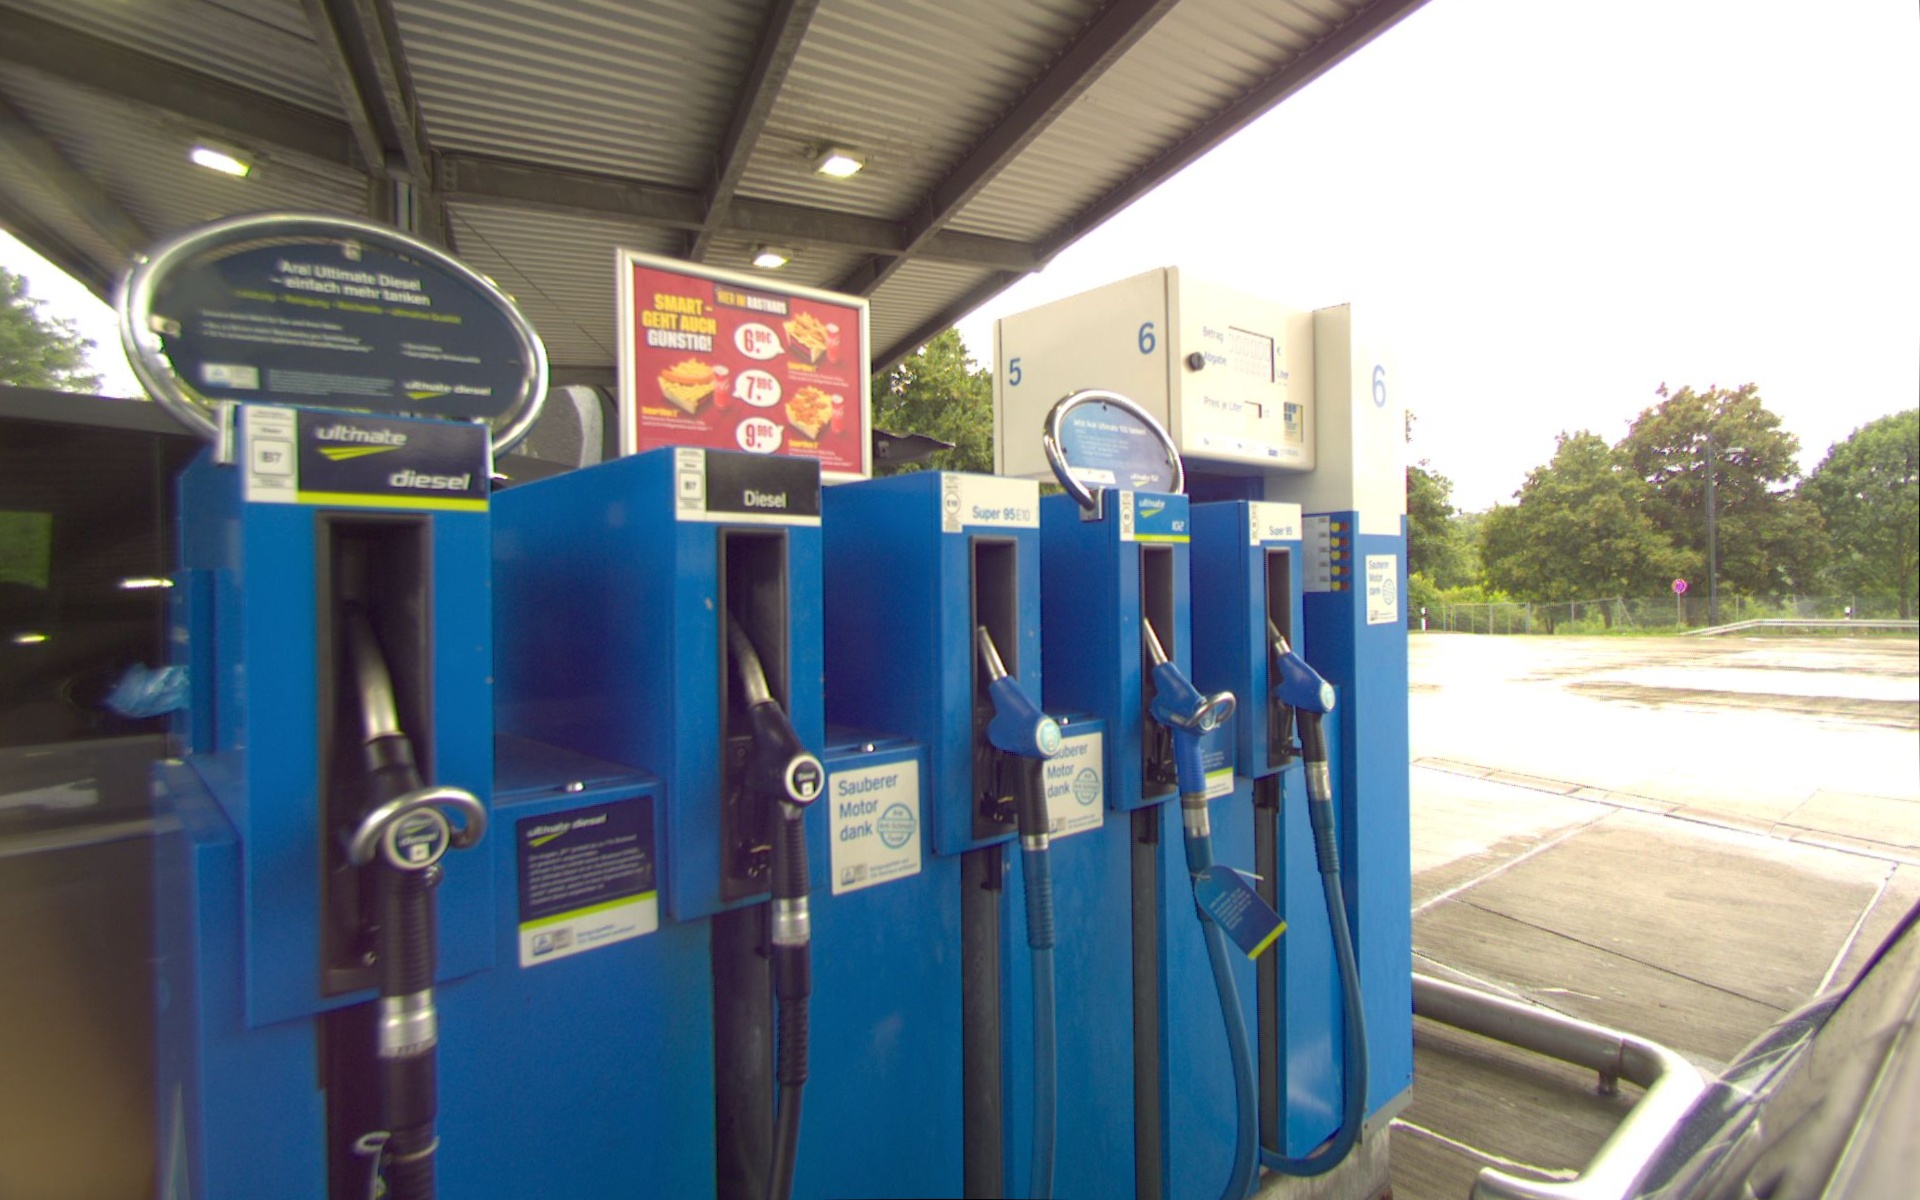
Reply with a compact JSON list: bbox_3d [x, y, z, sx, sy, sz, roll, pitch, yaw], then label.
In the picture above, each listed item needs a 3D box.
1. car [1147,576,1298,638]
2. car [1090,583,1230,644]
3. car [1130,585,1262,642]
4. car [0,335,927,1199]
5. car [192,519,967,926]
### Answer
[{"bbox_3d":[8.886,0.207,34.509,4.817,1.974,2.306,1,1,14],"label":"car"},{"bbox_3d":[5.870,0.374,29.735,3.941,1.680,1.593,1,0,14],"label":"car"},{"bbox_3d":[7.424,0.385,31.926,3.941,1.680,1.593,1,0,14],"label":"car"},{"bbox_3d":[-2.600,0.505,1.822,5.050,1.821,1.864,-1,0,-41],"label":"car"},{"bbox_3d":[-2.236,0.520,6.709,4.460,1.821,1.864,-1,0,-41],"label":"car"}]
